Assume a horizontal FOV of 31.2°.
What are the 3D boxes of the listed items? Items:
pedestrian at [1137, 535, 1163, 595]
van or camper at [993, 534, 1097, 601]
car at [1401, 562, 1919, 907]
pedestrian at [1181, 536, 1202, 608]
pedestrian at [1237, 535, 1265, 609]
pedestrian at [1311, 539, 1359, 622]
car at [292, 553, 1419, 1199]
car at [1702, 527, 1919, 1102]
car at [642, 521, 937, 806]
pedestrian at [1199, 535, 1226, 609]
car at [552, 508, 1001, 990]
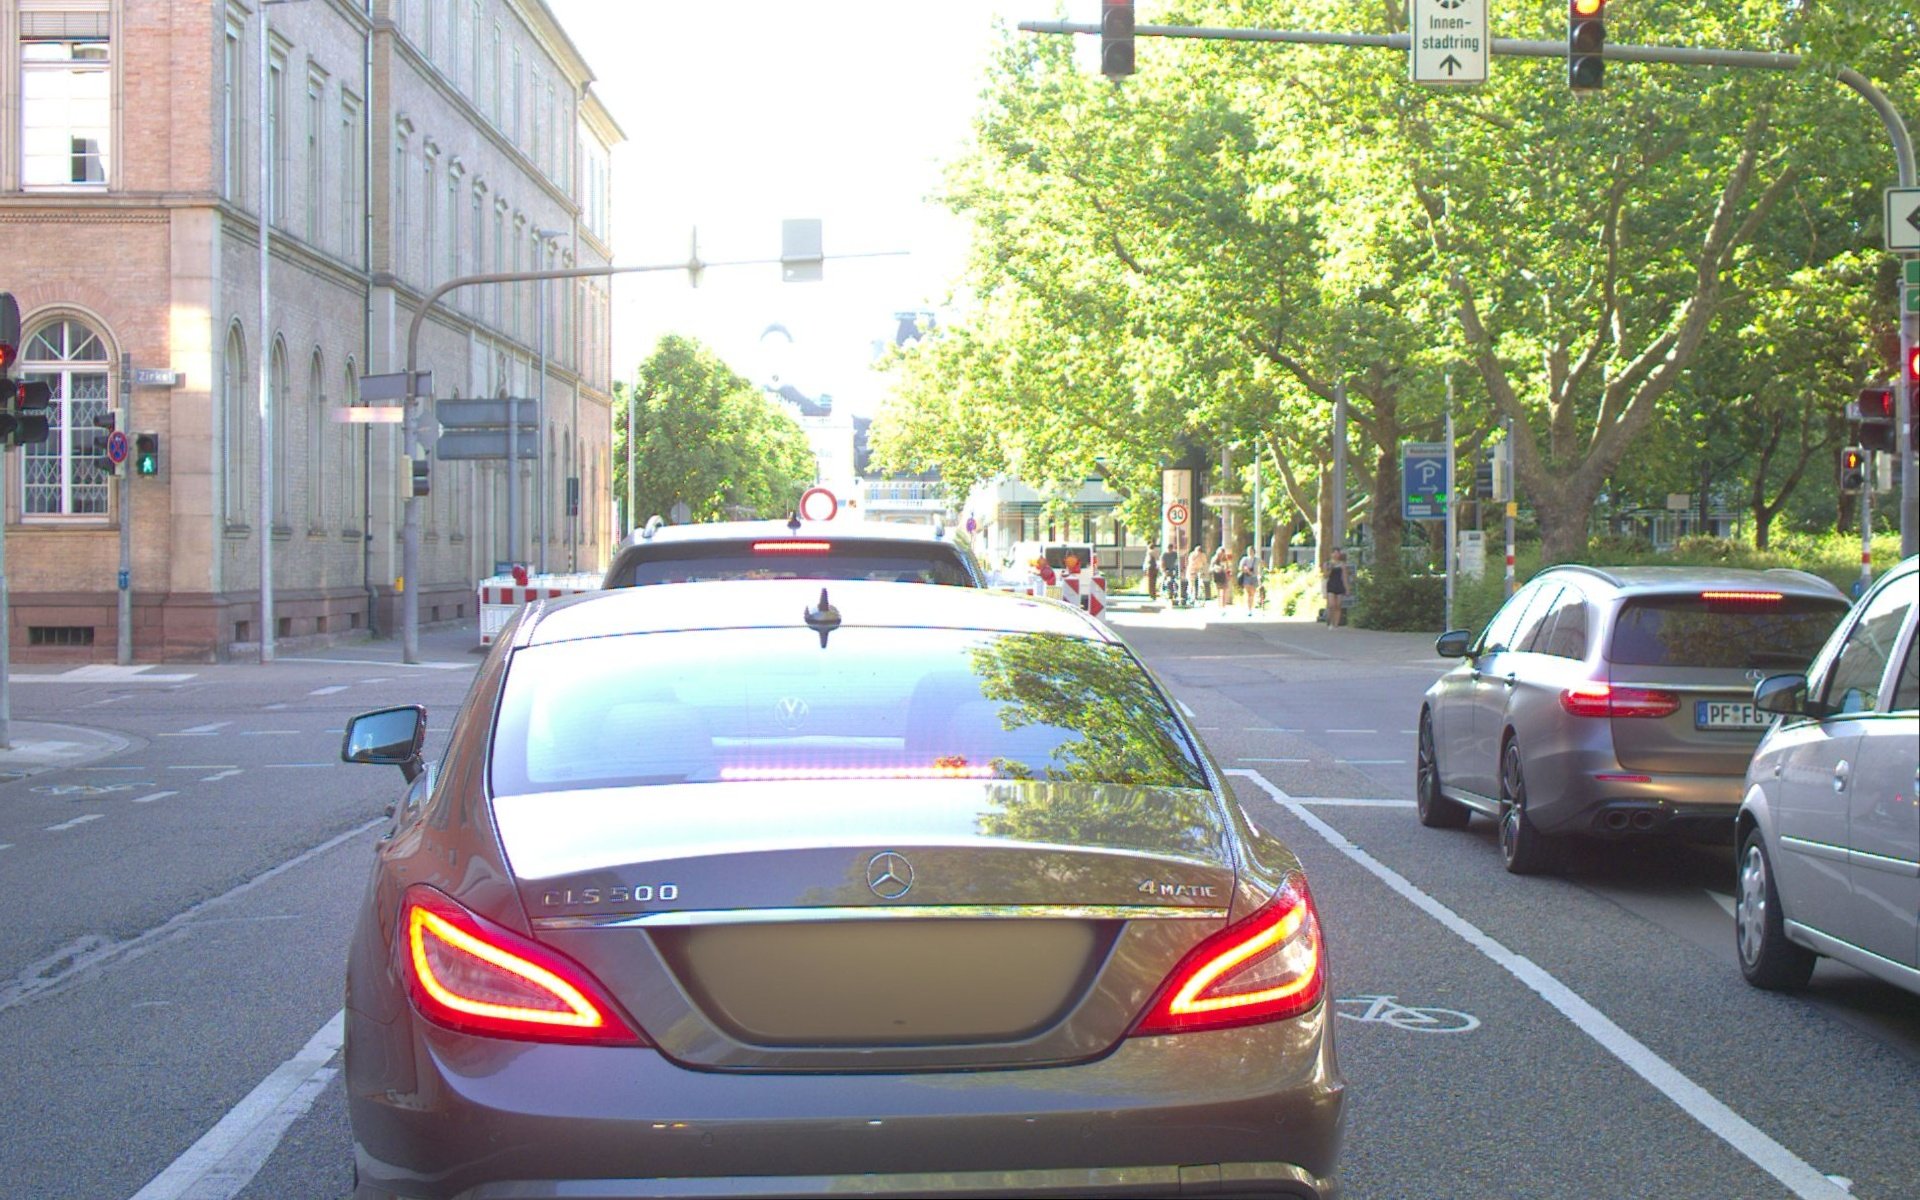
[{"bbox_3d":[5.797,-1.075,104.912,0.701,1.831,0.737,0,1,-3],"label":"pedestrian"},{"bbox_3d":[2.476,-0.972,101.332,1.993,1.935,4.596,0,1,-13],"label":"van or camper"},{"bbox_3d":[3.534,0.568,17.463,1.913,1.459,4.669,1,1,-1],"label":"car"},{"bbox_3d":[6.493,-0.785,96.472,0.539,2.007,0.474,1,0,-1],"label":"pedestrian"},{"bbox_3d":[7.160,-0.690,84.506,0.603,1.815,0.651,1,1,-1],"label":"pedestrian"},{"bbox_3d":[7.266,-0.377,66.624,0.830,1.601,0.651,1,1,-1],"label":"pedestrian"},{"bbox_3d":[-0.439,0.637,7.652,1.803,1.451,4.352,0,1,-8],"label":"car"},{"bbox_3d":[3.565,0.603,10.697,1.701,1.597,3.859,2,1,1],"label":"car"},{"bbox_3d":[-1.076,0.361,23.247,1.820,1.756,4.000,0,1,-1],"label":"car"},{"bbox_3d":[6.230,-0.687,84.749,0.603,1.815,0.651,0,1,-1],"label":"pedestrian"},{"bbox_3d":[-0.717,0.480,13.716,1.517,1.641,3.881,1,1,-3],"label":"car"}]
